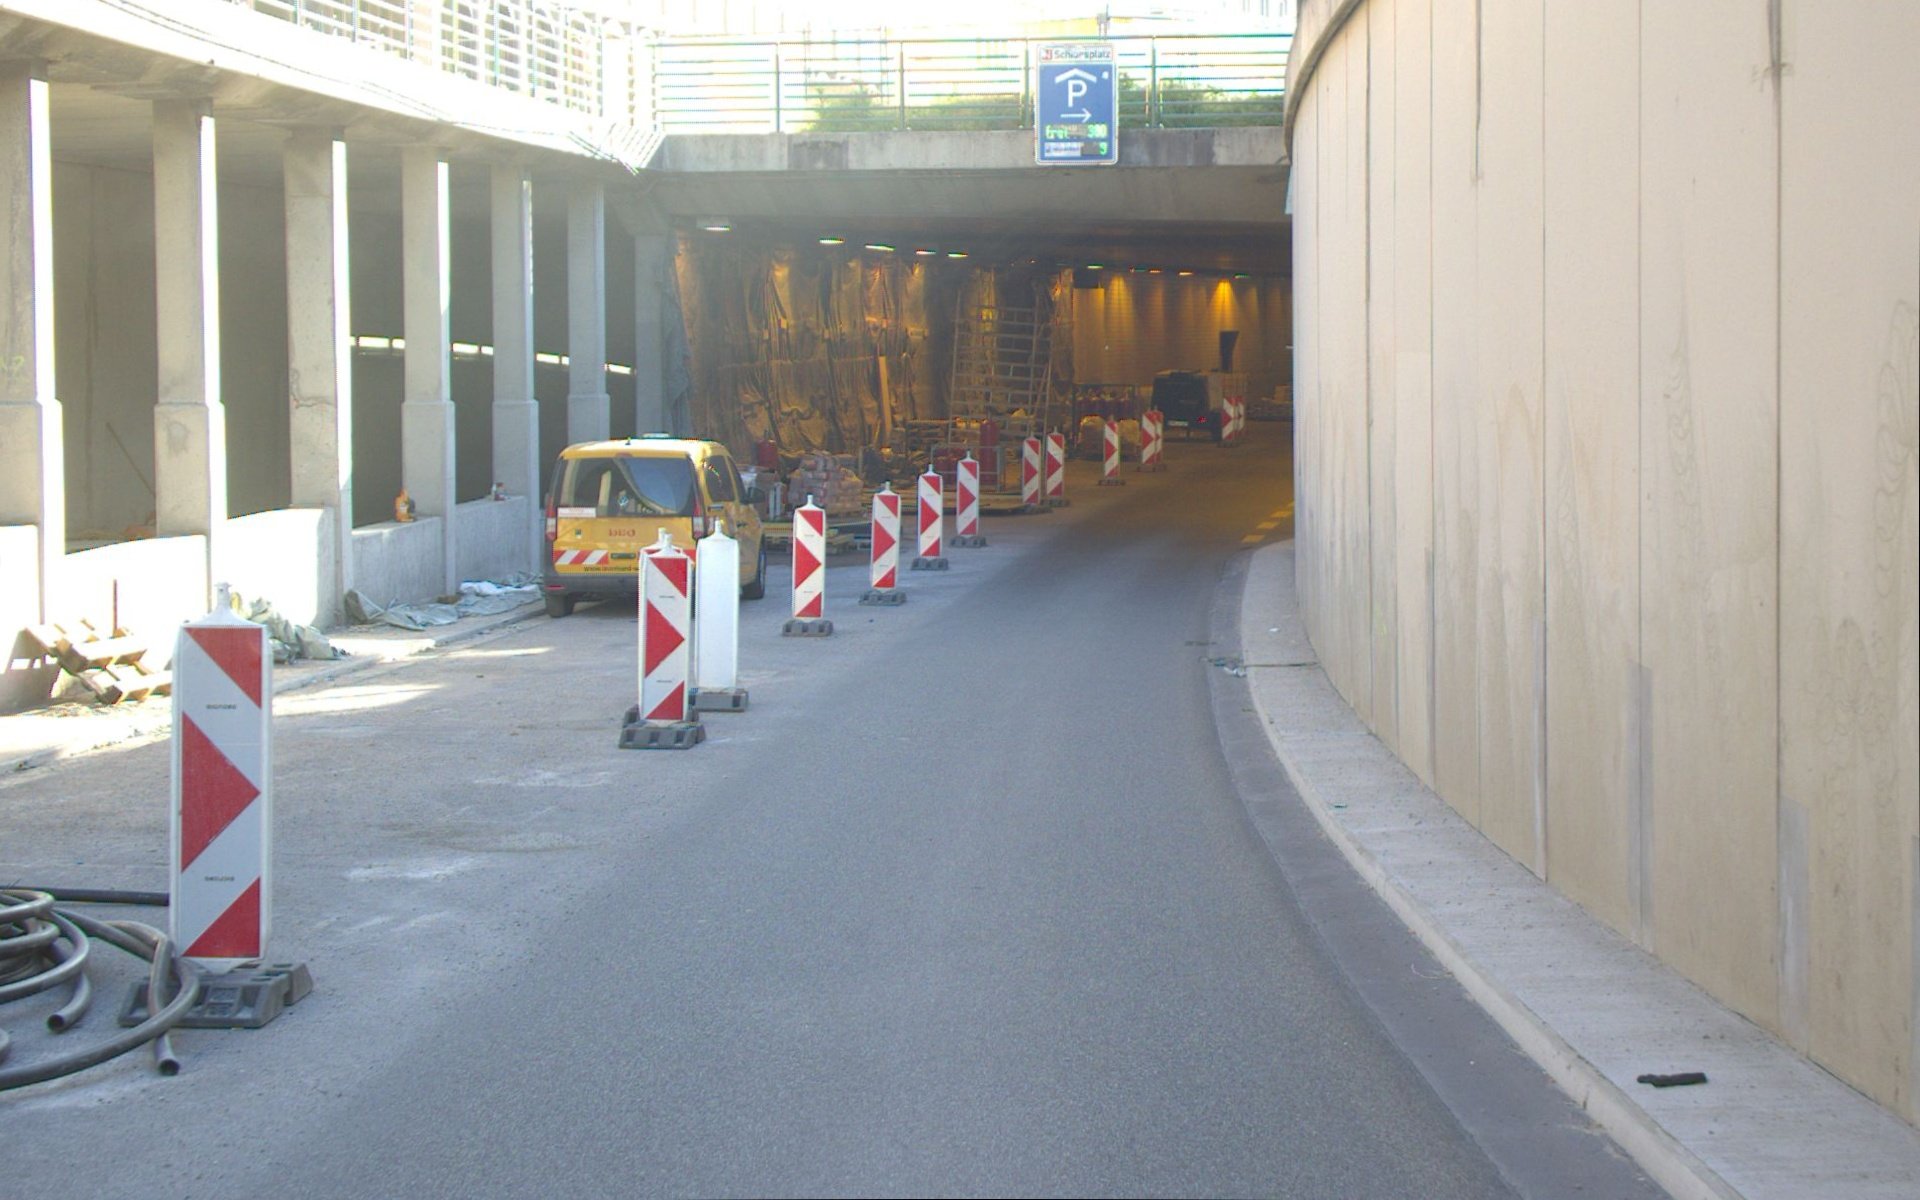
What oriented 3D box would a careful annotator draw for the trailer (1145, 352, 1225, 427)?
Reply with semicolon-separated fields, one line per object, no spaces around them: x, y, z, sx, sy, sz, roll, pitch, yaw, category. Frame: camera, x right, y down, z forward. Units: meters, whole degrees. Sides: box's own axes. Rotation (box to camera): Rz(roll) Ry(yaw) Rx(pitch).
5.642;-5.289;85.974;1.581;1.791;2.938;2;5;12;trailer

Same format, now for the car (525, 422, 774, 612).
-3.186;-0.933;36.106;1.848;1.769;4.434;1;4;5;car
